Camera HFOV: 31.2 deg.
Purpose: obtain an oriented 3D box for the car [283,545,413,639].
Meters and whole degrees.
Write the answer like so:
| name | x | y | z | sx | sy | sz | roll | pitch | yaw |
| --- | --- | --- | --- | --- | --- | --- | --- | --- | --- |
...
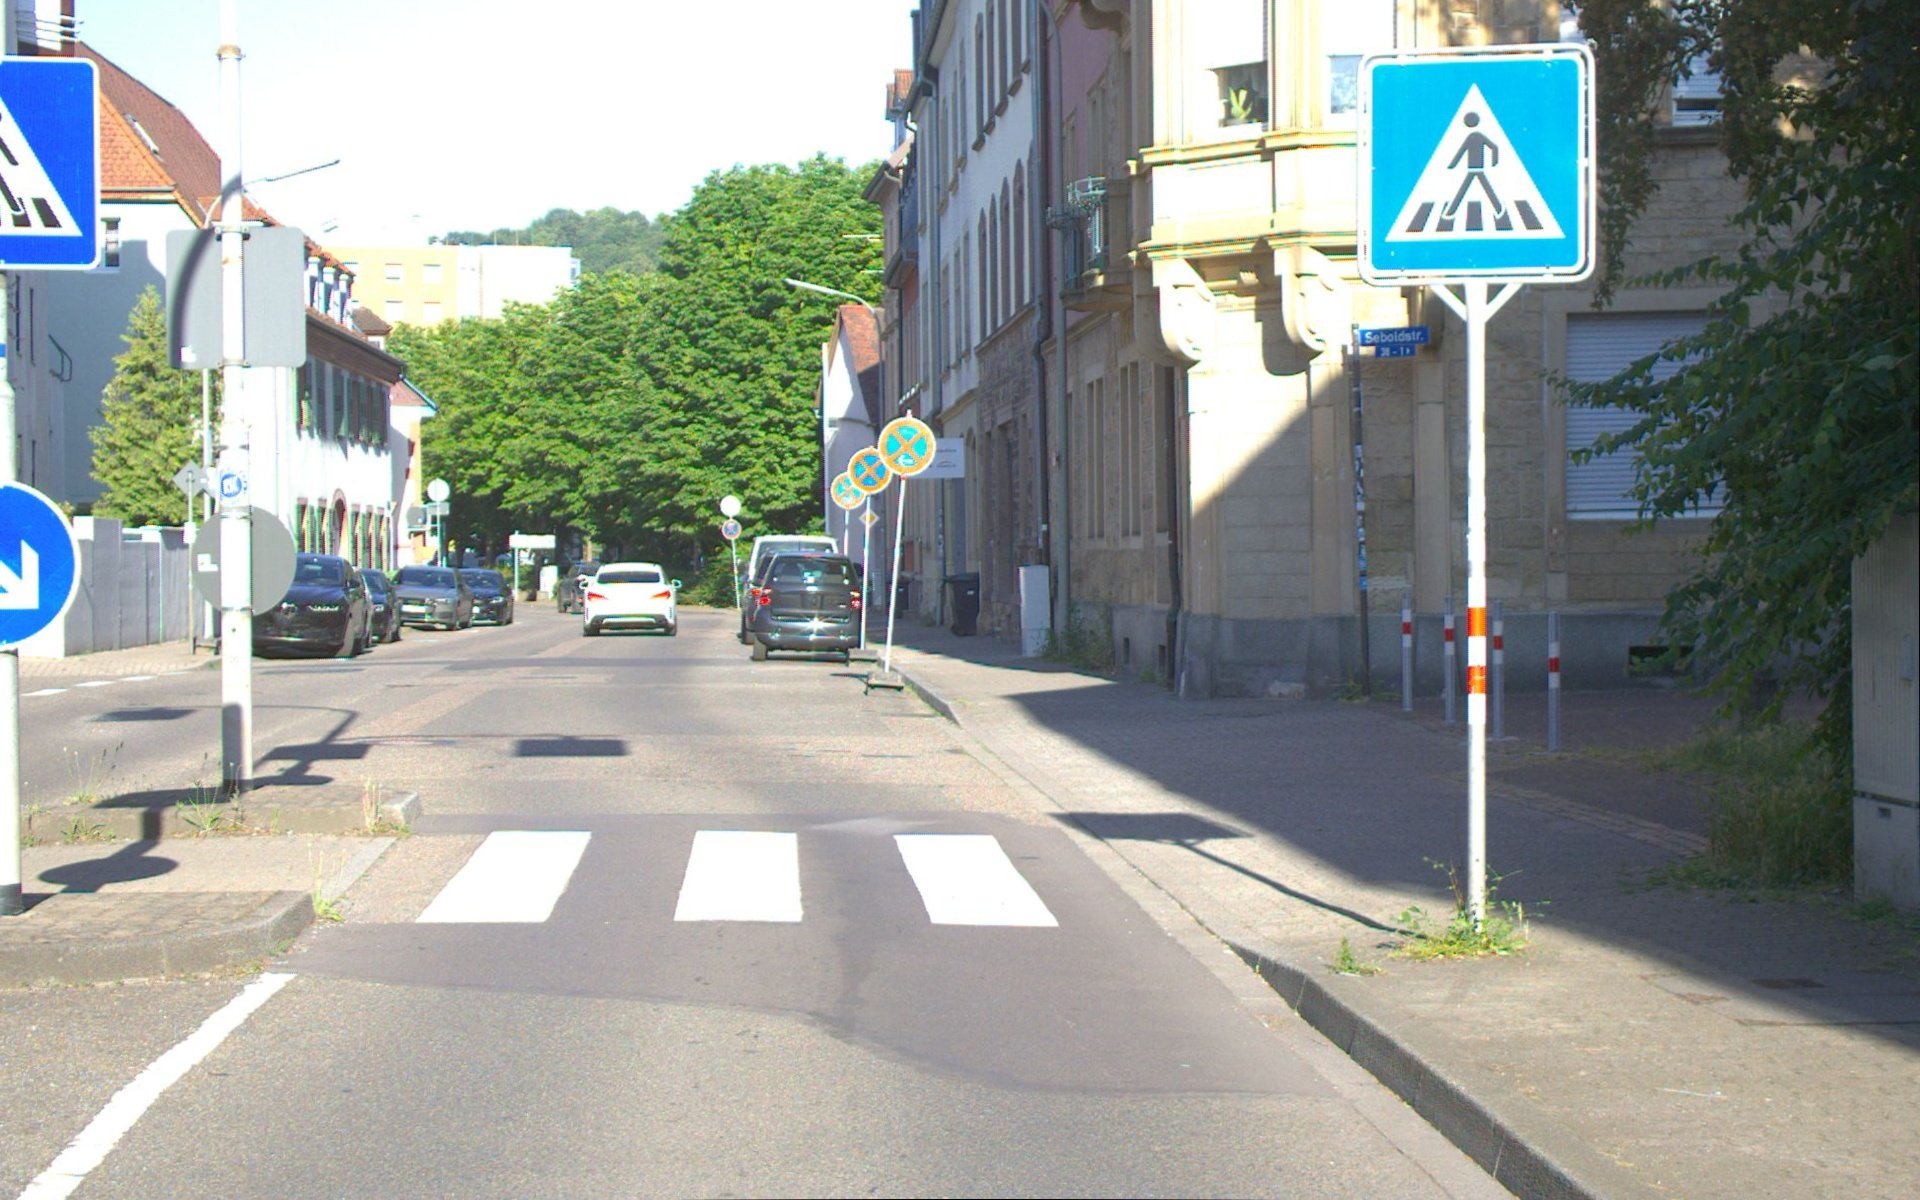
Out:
| name | x | y | z | sx | sy | sz | roll | pitch | yaw |
| --- | --- | --- | --- | --- | --- | --- | --- | --- | --- |
| car | -11.685 | -0.174 | 65.832 | 2.092 | 1.625 | 3.823 | -2 | 2 | -5 |

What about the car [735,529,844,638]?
| name | x | y | z | sx | sy | sz | roll | pitch | yaw |
| --- | --- | --- | --- | --- | --- | --- | --- | --- | --- |
| car | -3.272 | -0.347 | 65.444 | 1.840 | 1.899 | 4.001 | -2 | 2 | -5 |

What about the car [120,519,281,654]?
| name | x | y | z | sx | sy | sz | roll | pitch | yaw |
| --- | --- | --- | --- | --- | --- | --- | --- | --- | --- |
| car | -11.689 | -0.247 | 53.141 | 1.993 | 2.007 | 4.001 | 0 | 1 | -6 |

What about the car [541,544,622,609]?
| name | x | y | z | sx | sy | sz | roll | pitch | yaw |
| --- | --- | --- | --- | --- | --- | --- | --- | --- | --- |
| car | -12.228 | -0.780 | 110.828 | 1.993 | 2.007 | 4.001 | -1 | 1 | -15 |

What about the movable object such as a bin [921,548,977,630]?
| name | x | y | z | sx | sy | sz | roll | pitch | yaw |
| --- | --- | --- | --- | --- | --- | --- | --- | --- | --- |
| movable object such as a bin | -0.198 | -0.191 | 60.192 | 0.871 | 1.373 | 0.685 | -2 | 2 | -5 |

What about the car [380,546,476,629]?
| name | x | y | z | sx | sy | sz | roll | pitch | yaw |
| --- | --- | --- | --- | --- | --- | --- | --- | --- | --- |
| car | -12.373 | -0.310 | 80.173 | 1.910 | 1.754 | 4.129 | -2 | 2 | -5 |

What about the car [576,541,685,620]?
| name | x | y | z | sx | sy | sz | roll | pitch | yaw |
| --- | --- | --- | --- | --- | --- | --- | --- | --- | --- |
| car | -6.467 | -0.404 | 67.110 | 1.993 | 1.461 | 4.001 | -1 | 1 | -7 |

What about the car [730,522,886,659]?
| name | x | y | z | sx | sy | sz | roll | pitch | yaw |
| --- | --- | --- | --- | --- | --- | --- | --- | --- | --- |
| car | -2.215 | -0.173 | 49.189 | 2.010 | 1.846 | 4.001 | 0 | 2 | -6 |

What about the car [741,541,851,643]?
| name | x | y | z | sx | sy | sz | roll | pitch | yaw |
| --- | --- | --- | --- | --- | --- | --- | --- | --- | --- |
| car | -2.866 | -0.167 | 60.540 | 1.818 | 1.625 | 4.001 | -2 | 2 | -2 |
